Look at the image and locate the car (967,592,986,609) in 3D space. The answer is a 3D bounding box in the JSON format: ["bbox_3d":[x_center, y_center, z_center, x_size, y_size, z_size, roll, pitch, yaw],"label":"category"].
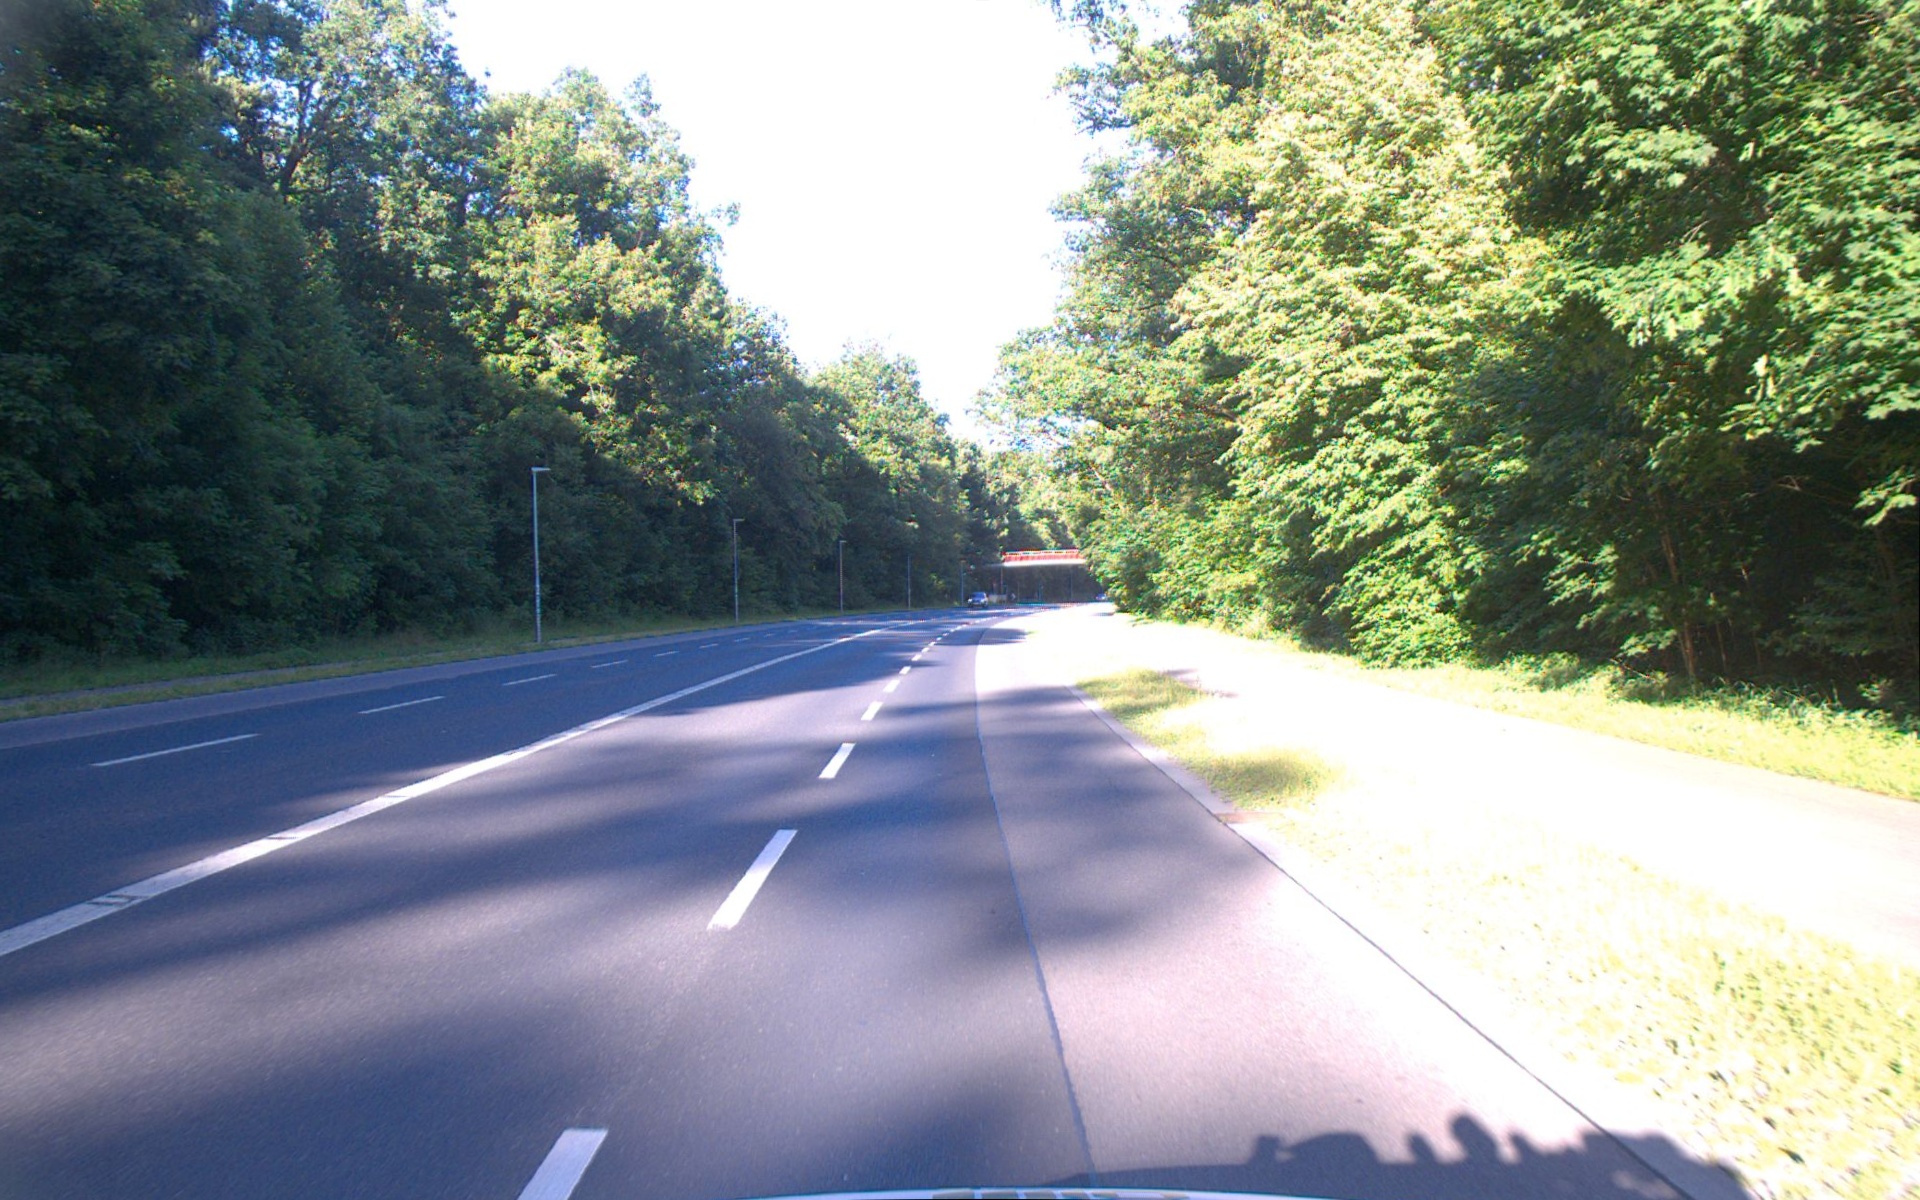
[{"bbox_3d":[1.714,0.068,171.859,1.770,1.692,4.523,0,0,2],"label":"car"}]
